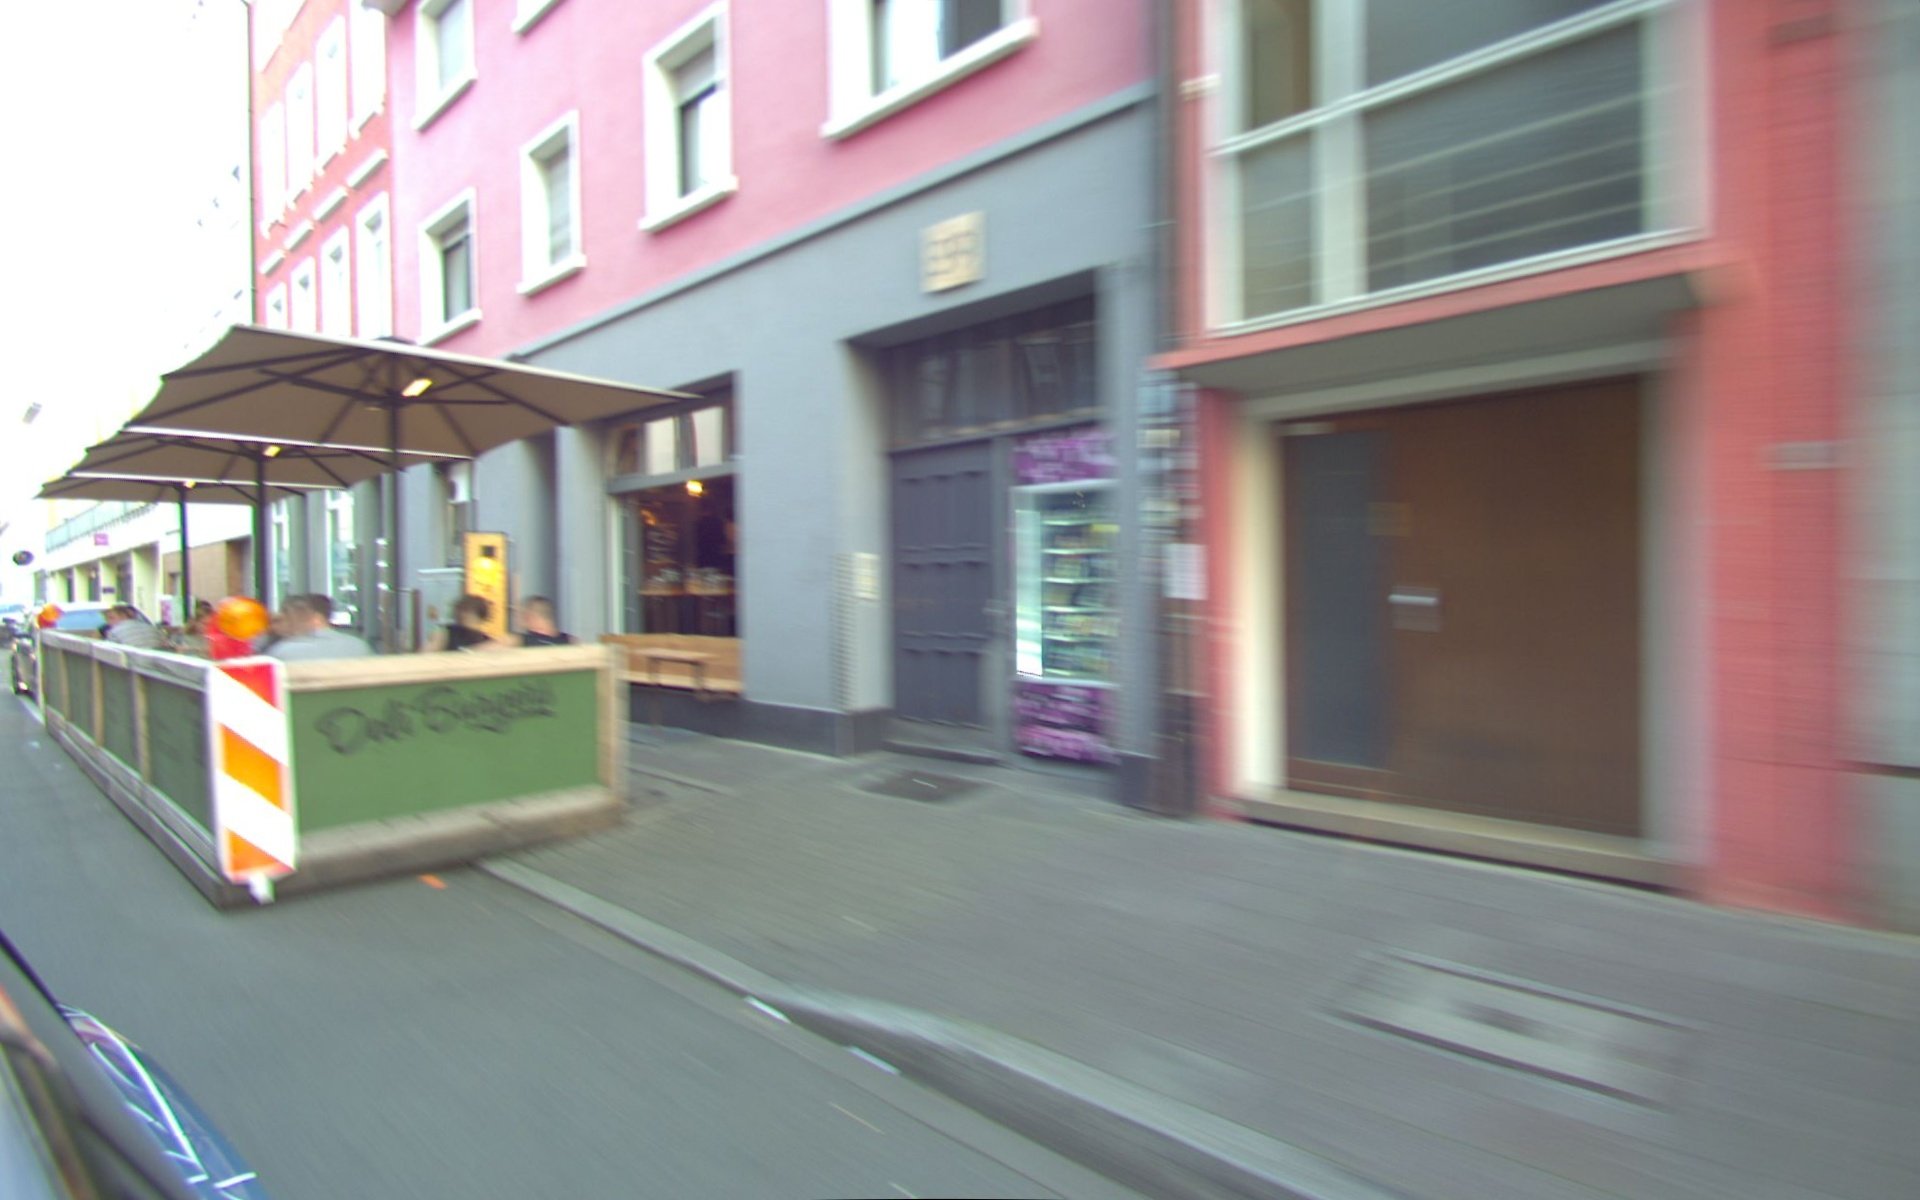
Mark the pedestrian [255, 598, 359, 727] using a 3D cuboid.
[{"bbox_3d":[-5.757,0.532,8.933,0.546,1.070,0.596,-1,1,36],"label":"pedestrian"}]

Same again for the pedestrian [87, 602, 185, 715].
[{"bbox_3d":[-8.317,0.572,10.219,0.559,1.075,0.626,-1,1,36],"label":"pedestrian"}]

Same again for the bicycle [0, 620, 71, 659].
[{"bbox_3d":[-31.463,1.329,33.912,2.445,1.187,0.785,-2,1,-41],"label":"bicycle"}]

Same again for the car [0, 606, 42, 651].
[{"bbox_3d":[-38.324,1.136,40.553,4.460,1.689,1.971,-1,0,44],"label":"car"}]

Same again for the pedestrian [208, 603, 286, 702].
[{"bbox_3d":[-7.885,0.565,11.193,0.492,1.044,0.552,-1,1,36],"label":"pedestrian"}]

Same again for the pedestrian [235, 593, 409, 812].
[{"bbox_3d":[-3.402,0.510,5.409,0.546,1.070,0.605,-1,1,36],"label":"pedestrian"}]

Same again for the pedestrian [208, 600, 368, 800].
[{"bbox_3d":[-3.912,0.544,5.904,0.546,1.070,0.605,-1,1,36],"label":"pedestrian"}]

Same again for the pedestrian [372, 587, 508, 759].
[{"bbox_3d":[-3.459,0.457,6.746,0.546,1.070,0.605,-1,1,36],"label":"pedestrian"}]

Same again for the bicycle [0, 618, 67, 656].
[{"bbox_3d":[-32.131,1.268,34.515,2.445,1.187,0.785,-2,1,-41],"label":"bicycle"}]

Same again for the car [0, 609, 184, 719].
[{"bbox_3d":[-13.742,0.915,15.918,4.134,1.471,1.699,-1,0,42],"label":"car"}]

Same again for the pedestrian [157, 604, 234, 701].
[{"bbox_3d":[-8.618,0.577,11.415,0.492,1.044,0.552,-1,1,36],"label":"pedestrian"}]

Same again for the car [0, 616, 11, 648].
[{"bbox_3d":[-46.807,1.538,48.272,4.460,1.482,1.971,-1,0,44],"label":"car"}]

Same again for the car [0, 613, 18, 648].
[{"bbox_3d":[-42.622,1.357,44.174,4.460,1.482,1.971,-1,0,44],"label":"car"}]

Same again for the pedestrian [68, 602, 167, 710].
[{"bbox_3d":[-8.905,0.571,10.702,0.546,1.070,0.665,-1,1,36],"label":"pedestrian"}]

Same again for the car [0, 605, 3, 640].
[{"bbox_3d":[-58.251,1.382,59.974,4.460,2.057,1.971,-1,0,44],"label":"car"}]

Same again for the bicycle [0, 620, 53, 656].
[{"bbox_3d":[-33.849,1.360,35.899,2.445,1.187,0.785,-2,1,-41],"label":"bicycle"}]

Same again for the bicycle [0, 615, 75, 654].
[{"bbox_3d":[-30.768,1.145,33.296,2.445,1.187,0.785,-2,1,-41],"label":"bicycle"}]

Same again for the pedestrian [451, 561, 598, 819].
[{"bbox_3d":[-2.665,0.511,6.206,0.546,1.483,0.605,-1,1,36],"label":"pedestrian"}]

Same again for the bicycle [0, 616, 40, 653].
[{"bbox_3d":[-36.035,1.303,37.764,2.445,1.340,0.785,-2,1,-41],"label":"bicycle"}]

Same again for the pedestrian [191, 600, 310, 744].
[{"bbox_3d":[-5.629,0.545,8.037,0.546,1.070,0.605,-1,1,36],"label":"pedestrian"}]

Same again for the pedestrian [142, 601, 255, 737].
[{"bbox_3d":[-6.404,0.554,8.513,0.546,1.070,0.605,-1,1,36],"label":"pedestrian"}]
